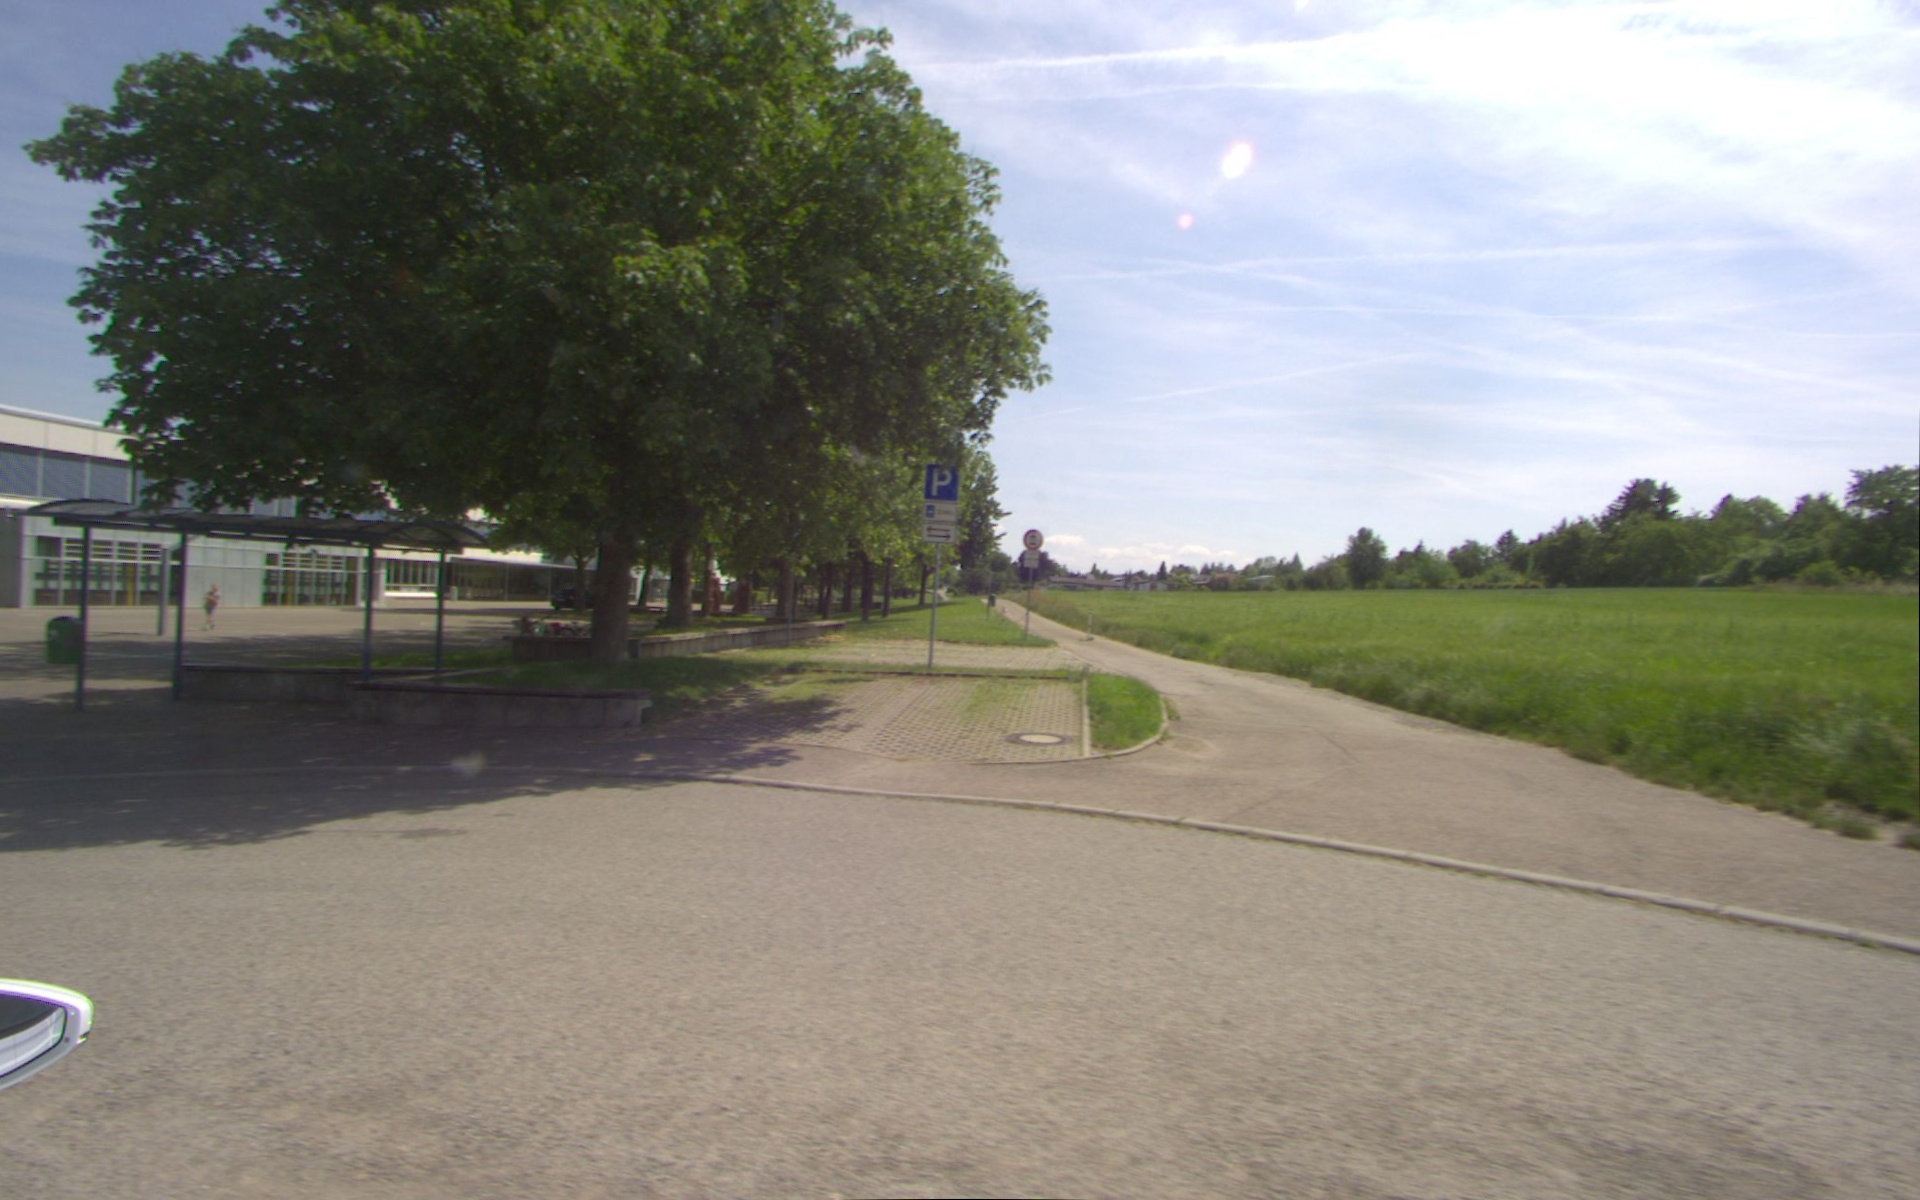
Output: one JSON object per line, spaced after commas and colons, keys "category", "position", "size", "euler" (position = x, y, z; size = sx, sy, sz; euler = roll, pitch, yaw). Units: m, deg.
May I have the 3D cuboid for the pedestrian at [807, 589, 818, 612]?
{"category": "pedestrian", "position": [-13.861, 0.038, 93.844], "size": [0.821, 2.040, 0.690], "euler": [2, 0, -19]}

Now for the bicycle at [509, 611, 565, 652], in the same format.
{"category": "bicycle", "position": [-11.515, 0.843, 27.320], "size": [0.585, 1.053, 1.892], "euler": [1, 0, 5]}

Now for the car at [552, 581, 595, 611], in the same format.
{"category": "car", "position": [-25.243, -0.261, 65.455], "size": [1.664, 1.859, 3.410], "euler": [2, 0, -5]}

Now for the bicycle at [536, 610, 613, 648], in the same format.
{"category": "bicycle", "position": [-11.301, 0.856, 29.383], "size": [2.030, 1.053, 0.571], "euler": [1, 0, -11]}

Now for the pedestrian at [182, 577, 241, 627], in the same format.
{"category": "pedestrian", "position": [-22.492, 0.066, 30.108], "size": [0.902, 1.442, 1.069], "euler": [2, 0, 4]}
